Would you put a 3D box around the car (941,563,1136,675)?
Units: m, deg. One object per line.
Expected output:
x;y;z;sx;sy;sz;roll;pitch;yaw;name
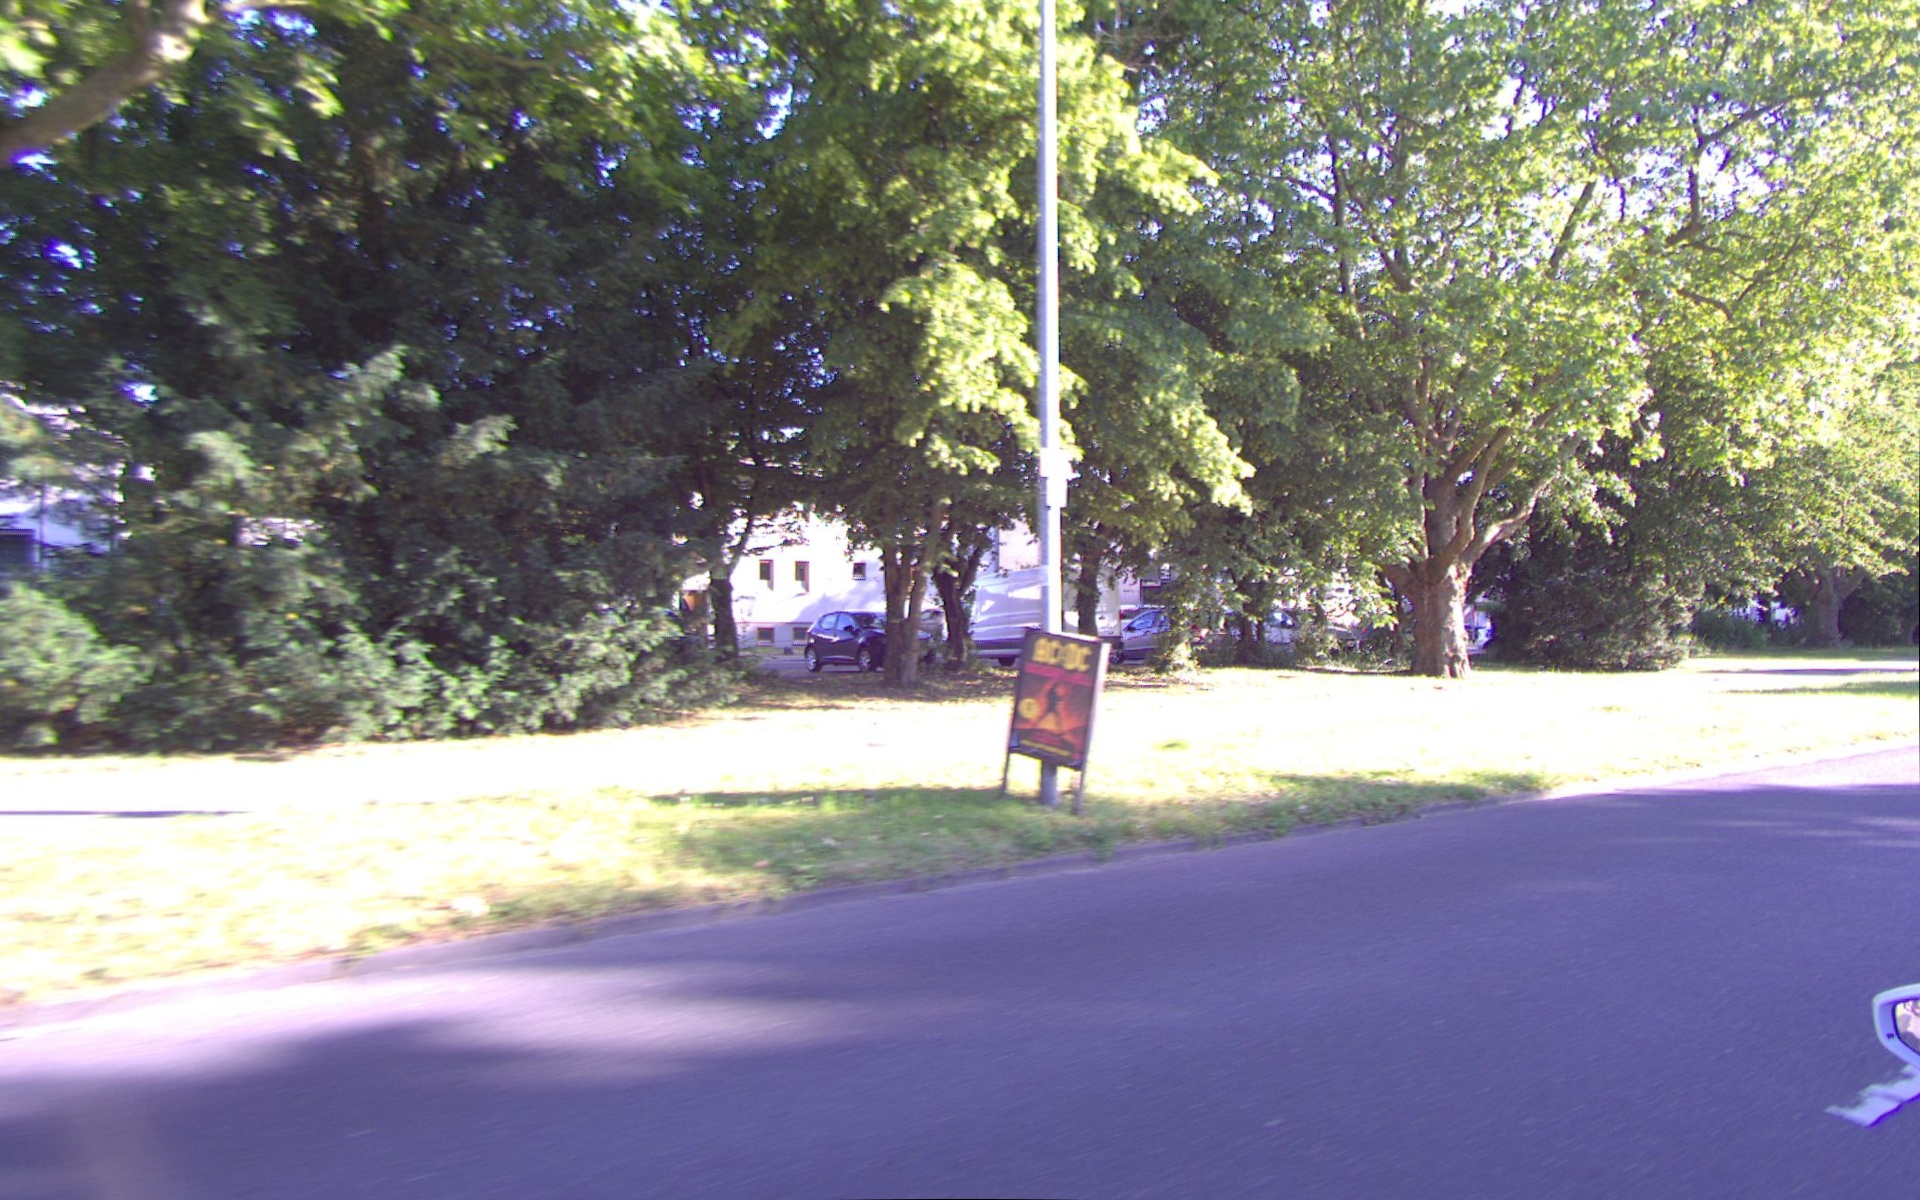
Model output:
1.831;0.537;25.650;2.163;2.534;5.400;1;-2;-33;car

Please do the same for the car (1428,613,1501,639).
33.715;1.733;67.149;1.915;1.623;3.950;1;-1;-42;car

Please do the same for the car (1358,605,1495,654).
16.330;0.997;35.328;1.895;1.528;3.958;1;1;-36;car

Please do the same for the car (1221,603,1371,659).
10.386;0.930;31.283;1.936;1.617;4.092;1;-1;-38;car

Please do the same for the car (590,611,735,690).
-6.034;0.937;20.071;1.675;1.400;3.905;1;-1;-34;car

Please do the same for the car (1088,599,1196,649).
8.064;1.028;44.886;1.983;2.040;4.508;2;0;-39;car

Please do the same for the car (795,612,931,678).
-2.311;0.981;23.239;1.675;1.400;3.459;1;-1;-34;car

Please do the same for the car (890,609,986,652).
-0.922;1.156;39.117;1.905;1.572;3.962;1;-1;-34;car

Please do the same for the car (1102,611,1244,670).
5.884;1.076;28.063;1.795;1.520;3.703;1;-1;-34;car
